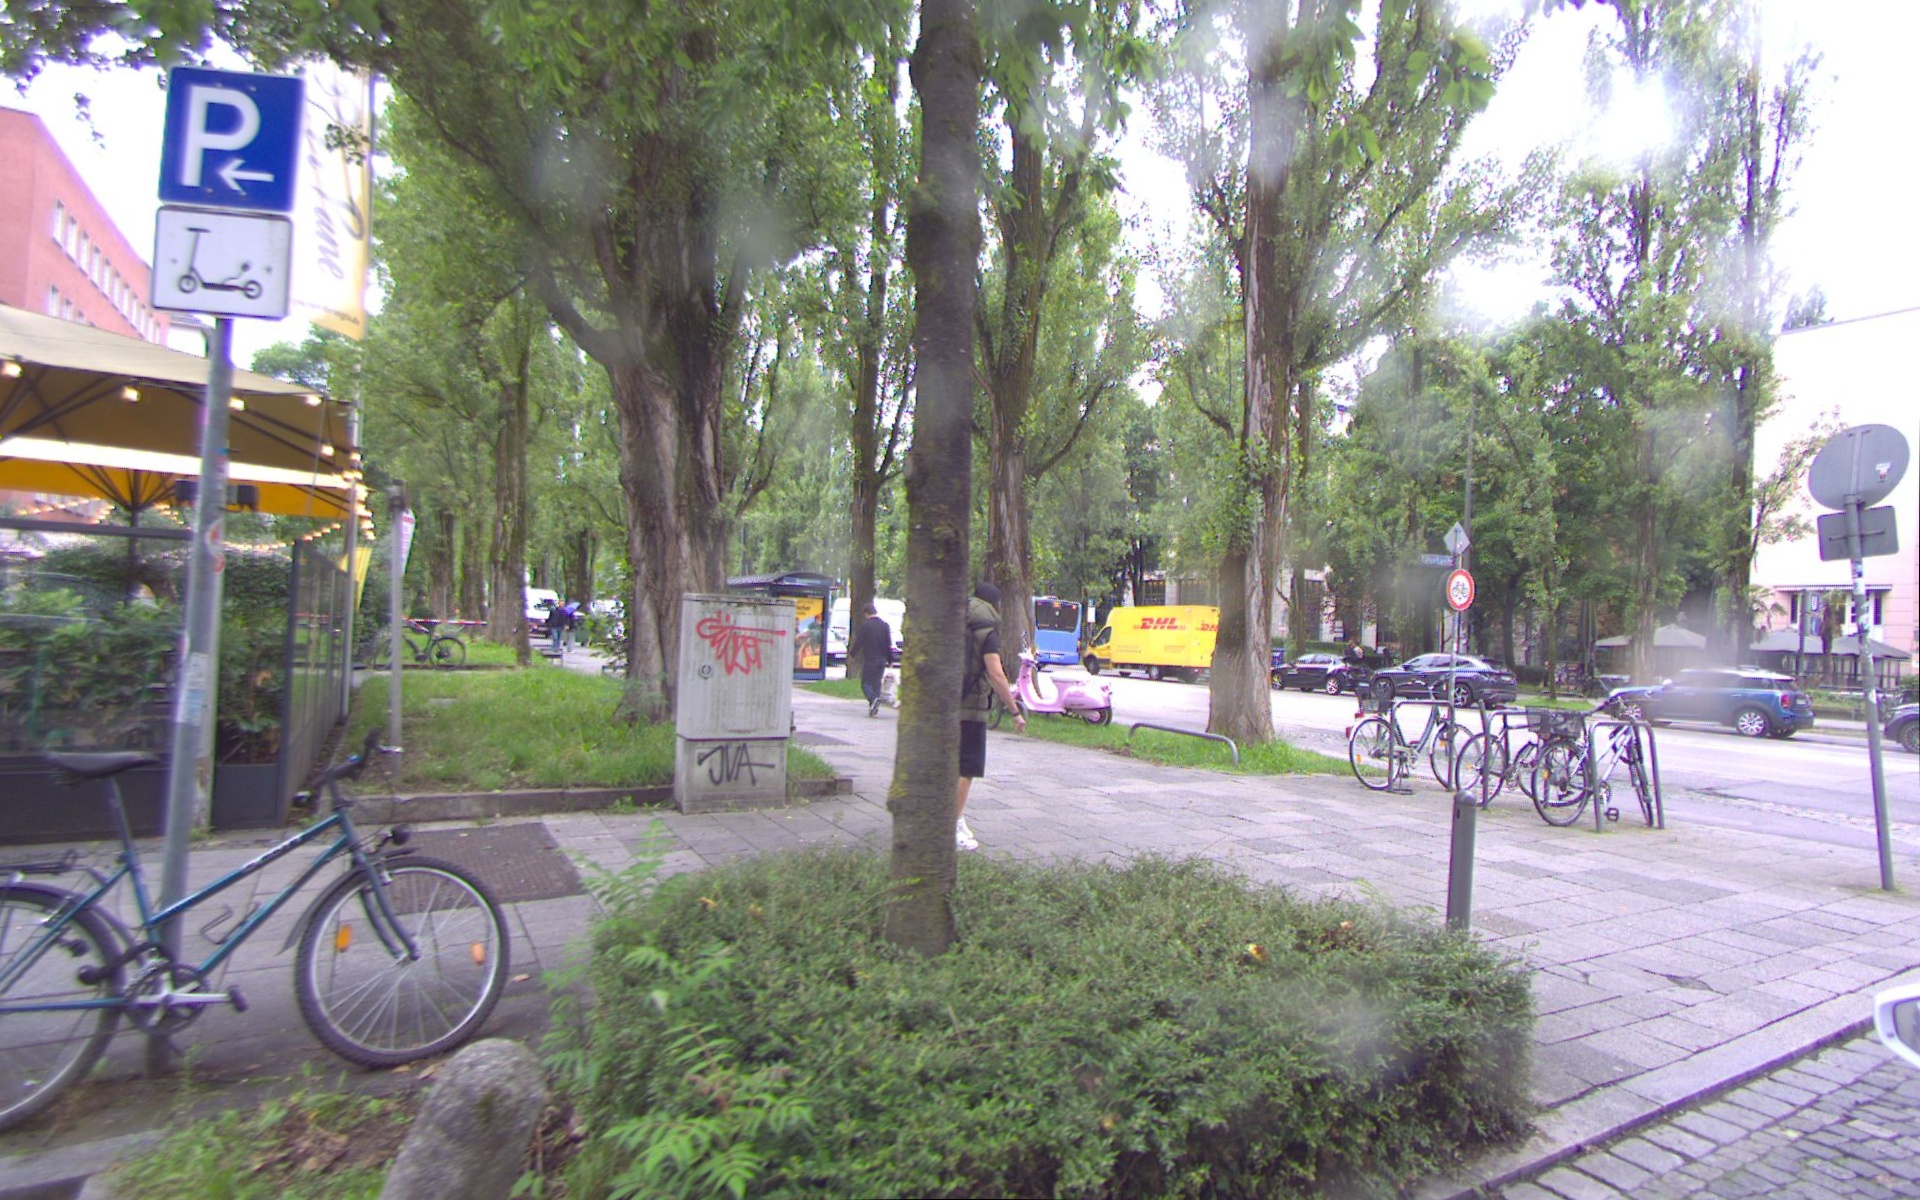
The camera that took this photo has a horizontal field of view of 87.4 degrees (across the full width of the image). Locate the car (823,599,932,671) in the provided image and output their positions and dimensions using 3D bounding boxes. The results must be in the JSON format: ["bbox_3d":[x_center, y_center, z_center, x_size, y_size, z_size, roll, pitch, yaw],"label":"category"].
[{"bbox_3d":[-3.426,1.351,40.252,2.022,2.687,5.994,2,-1,-29],"label":"car"}]

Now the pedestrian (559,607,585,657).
[{"bbox_3d":[-13.508,1.115,34.962,0.726,1.715,0.642,3,-2,-26],"label":"pedestrian"}]

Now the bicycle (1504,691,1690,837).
[{"bbox_3d":[5.386,1.356,8.469,1.680,1.107,0.488,3,-2,-25],"label":"bicycle"}]

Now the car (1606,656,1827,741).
[{"bbox_3d":[18.832,2.414,25.178,1.774,1.754,4.044,5,-3,-31],"label":"car"}]

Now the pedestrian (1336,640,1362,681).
[{"bbox_3d":[16.947,2.620,43.756,0.701,1.736,0.726,3,-2,-29],"label":"pedestrian"}]

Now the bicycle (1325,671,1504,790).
[{"bbox_3d":[4.657,1.321,10.248,1.957,1.107,0.488,3,-2,-26],"label":"bicycle"}]

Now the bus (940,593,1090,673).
[{"bbox_3d":[2.171,1.413,44.145,2.888,3.091,8.465,3,-2,-25],"label":"bus"}]

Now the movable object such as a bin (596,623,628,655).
[{"bbox_3d":[-15.068,1.675,43.501,1.052,1.329,0.975,4,-2,-33],"label":"movable object such as a bin"}]

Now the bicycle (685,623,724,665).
[{"bbox_3d":[-7.880,1.350,30.940,0.576,1.204,2.124,3,-2,-30],"label":"bicycle"}]

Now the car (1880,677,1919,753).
[{"bbox_3d":[21.765,2.476,20.223,1.772,1.549,4.479,3,-2,-29],"label":"car"}]

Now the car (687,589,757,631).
[{"bbox_3d":[-11.033,0.509,46.463,1.990,1.780,3.967,3,-3,-31],"label":"car"}]

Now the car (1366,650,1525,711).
[{"bbox_3d":[15.059,2.474,31.400,1.772,1.621,4.204,3,-2,-29],"label":"car"}]

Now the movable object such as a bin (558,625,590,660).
[{"bbox_3d":[-16.185,1.788,42.107,1.052,1.423,0.975,4,-2,-33],"label":"movable object such as a bin"}]

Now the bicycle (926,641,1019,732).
[{"bbox_3d":[0.161,1.234,14.632,0.576,1.204,1.603,3,-2,-30],"label":"bicycle"}]

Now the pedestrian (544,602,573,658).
[{"bbox_3d":[-12.616,0.928,31.545,0.726,1.715,0.642,3,-2,-26],"label":"pedestrian"}]

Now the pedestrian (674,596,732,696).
[{"bbox_3d":[-4.629,0.825,18.100,0.634,1.750,0.701,1,-2,36],"label":"pedestrian"}]

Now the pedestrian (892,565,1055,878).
[{"bbox_3d":[0.098,0.710,6.272,0.738,1.796,0.705,2,-2,23],"label":"pedestrian"}]

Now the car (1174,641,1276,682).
[{"bbox_3d":[10.561,2.428,40.258,1.772,1.430,3.851,3,-2,-29],"label":"car"}]

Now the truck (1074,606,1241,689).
[{"bbox_3d":[7.656,1.787,40.024,2.570,2.945,7.027,4,-2,-28],"label":"truck"}]

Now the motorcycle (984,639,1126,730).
[{"bbox_3d":[1.398,1.223,14.776,1.951,1.211,0.630,2,-2,16],"label":"motorcycle"}]

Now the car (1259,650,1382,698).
[{"bbox_3d":[12.733,2.596,35.689,1.772,1.430,3.851,3,-2,-29],"label":"car"}]

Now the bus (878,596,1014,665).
[{"bbox_3d":[-0.940,1.512,50.700,2.889,3.091,9.732,3,-2,-26],"label":"bus"}]

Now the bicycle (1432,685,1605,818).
[{"bbox_3d":[5.144,1.371,9.229,1.680,1.107,0.488,3,-2,-25],"label":"bicycle"}]

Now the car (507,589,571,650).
[{"bbox_3d":[-22.562,1.021,53.705,2.176,3.056,5.949,3,-2,-31],"label":"car"}]

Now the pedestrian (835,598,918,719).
[{"bbox_3d":[-1.251,0.874,15.025,0.849,1.734,0.951,3,-2,-32],"label":"pedestrian"}]

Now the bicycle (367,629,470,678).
[{"bbox_3d":[-11.106,1.106,20.629,1.783,0.924,0.615,4,-2,-33],"label":"bicycle"}]

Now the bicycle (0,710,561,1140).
[{"bbox_3d":[-2.199,0.880,3.027,1.744,1.035,0.549,4,-2,-32],"label":"bicycle"}]

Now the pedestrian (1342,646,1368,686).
[{"bbox_3d":[17.723,2.976,45.061,0.701,1.736,0.726,3,-2,-29],"label":"pedestrian"}]
